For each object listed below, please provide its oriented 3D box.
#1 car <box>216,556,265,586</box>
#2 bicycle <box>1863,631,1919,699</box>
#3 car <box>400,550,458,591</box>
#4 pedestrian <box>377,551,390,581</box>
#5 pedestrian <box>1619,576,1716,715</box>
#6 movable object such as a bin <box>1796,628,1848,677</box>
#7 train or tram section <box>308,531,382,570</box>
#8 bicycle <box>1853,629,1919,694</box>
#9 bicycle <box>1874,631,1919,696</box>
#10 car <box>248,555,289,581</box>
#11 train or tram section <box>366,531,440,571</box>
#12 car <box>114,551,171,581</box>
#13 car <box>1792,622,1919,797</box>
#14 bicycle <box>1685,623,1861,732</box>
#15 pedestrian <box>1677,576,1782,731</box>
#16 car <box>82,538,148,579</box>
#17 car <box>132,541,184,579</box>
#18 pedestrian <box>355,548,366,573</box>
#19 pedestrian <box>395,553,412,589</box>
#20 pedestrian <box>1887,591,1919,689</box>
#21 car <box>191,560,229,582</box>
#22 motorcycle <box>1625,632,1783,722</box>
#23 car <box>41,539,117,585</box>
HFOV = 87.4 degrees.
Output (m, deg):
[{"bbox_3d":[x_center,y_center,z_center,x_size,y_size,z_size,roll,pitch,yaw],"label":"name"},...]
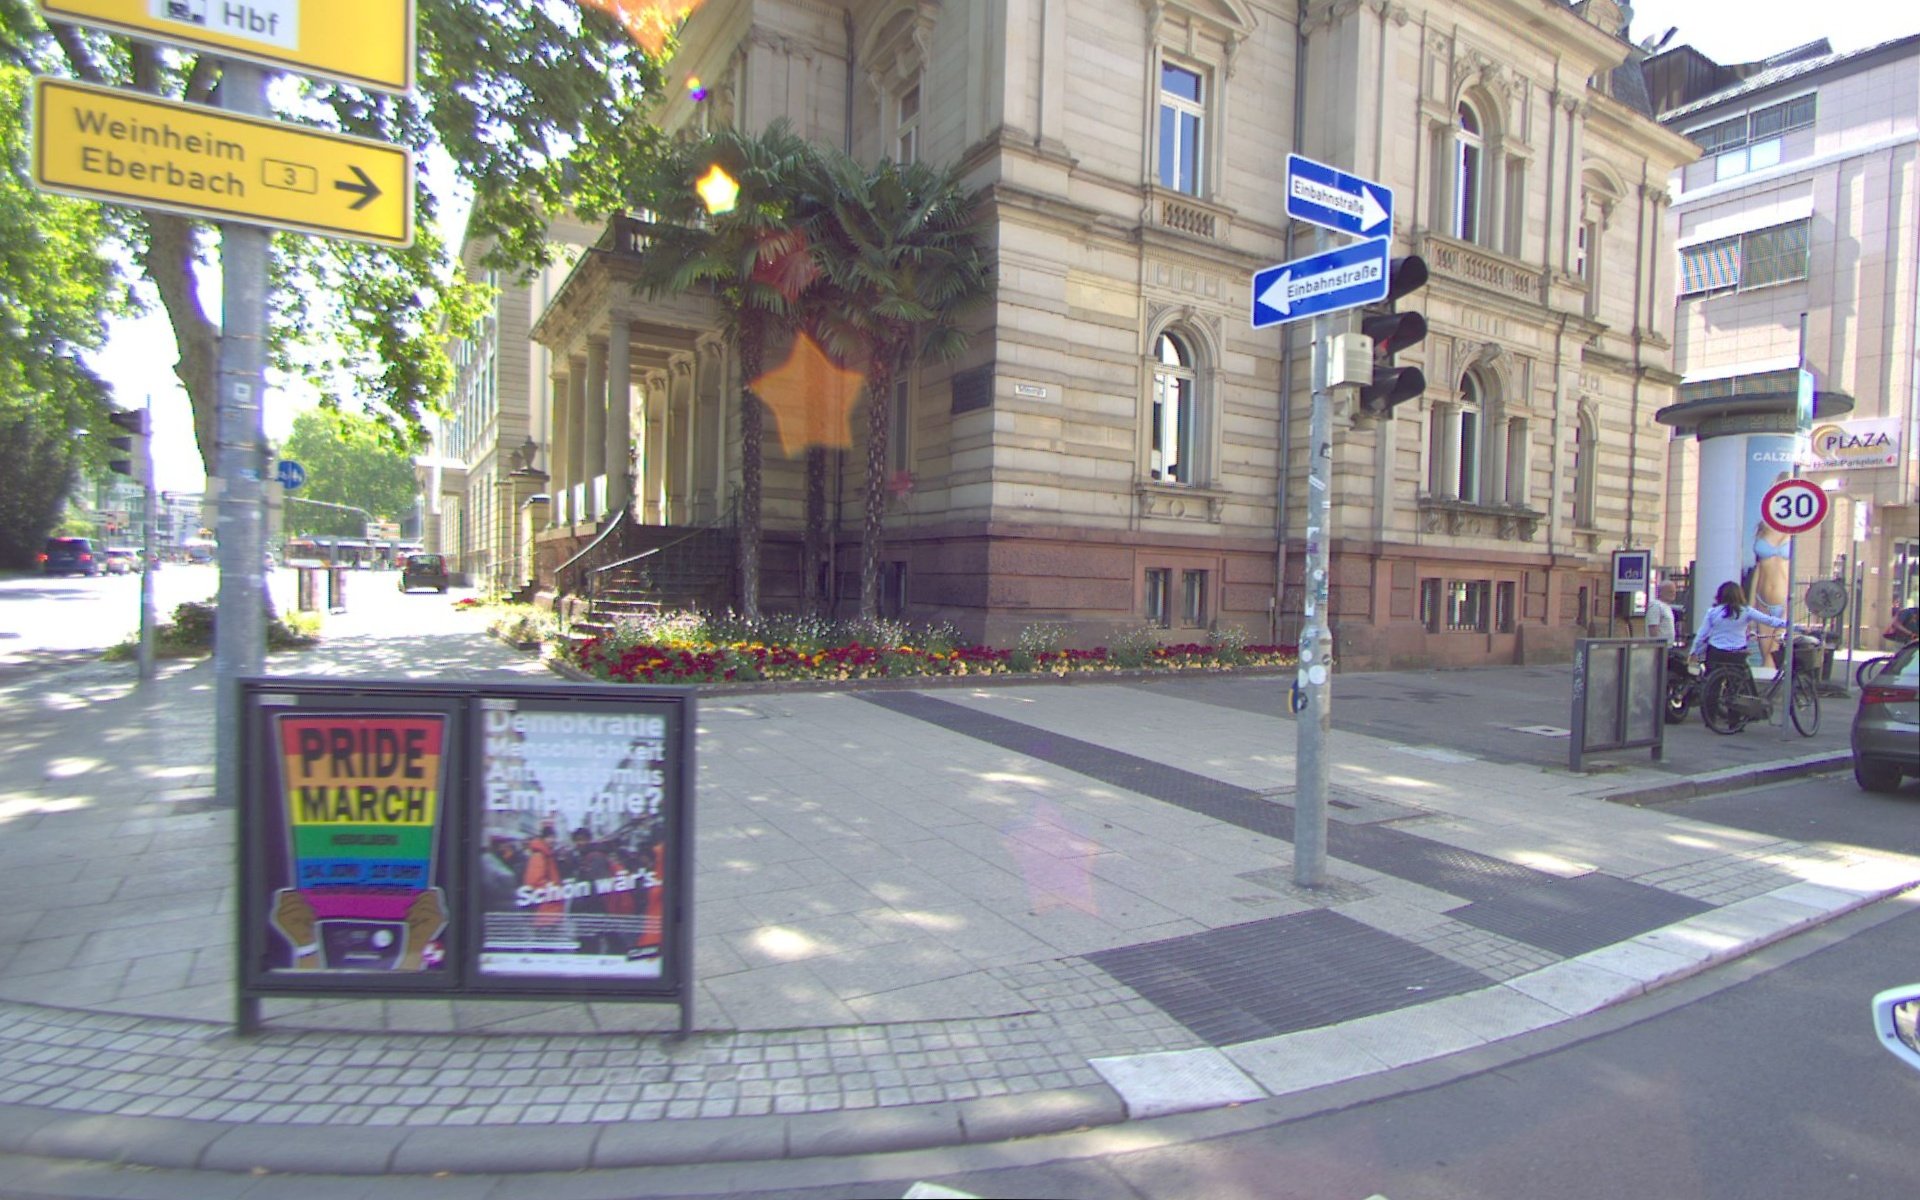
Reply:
[{"bbox_3d":[-43.877,-1.763,61.341,1.828,1.758,4.028,0,2,-28],"label":"car"},{"bbox_3d":[17.381,1.201,17.803,0.552,1.135,1.942,1,3,-42],"label":"bicycle"},{"bbox_3d":[-20.596,-1.157,39.014,1.911,1.515,4.028,0,2,-28],"label":"car"},{"bbox_3d":[-34.879,-2.049,60.762,0.688,1.811,0.828,1,1,-30],"label":"pedestrian"},{"bbox_3d":[8.910,0.567,12.658,0.923,1.687,0.548,2,0,-23],"label":"pedestrian"},{"bbox_3d":[16.566,1.003,19.309,0.507,0.887,0.649,3,-1,-38],"label":"movable object such as a bin"},{"bbox_3d":[-61.633,-4.942,100.691,6.241,3.733,2.152,2,1,4],"label":"train or tram section"},{"bbox_3d":[16.812,1.106,17.368,0.666,1.031,1.944,1,3,-42],"label":"bicycle"},{"bbox_3d":[17.988,1.217,18.049,0.552,1.135,2.215,1,3,-41],"label":"bicycle"},{"bbox_3d":[-48.520,-2.248,70.532,1.911,1.722,4.028,0,2,-28],"label":"car"},{"bbox_3d":[-55.629,-4.847,100.443,6.159,3.733,2.152,2,1,1],"label":"train or tram section"},{"bbox_3d":[-49.677,-2.071,61.120,1.911,1.722,4.028,0,2,-28],"label":"car"},{"bbox_3d":[9.612,0.918,9.050,4.199,1.372,1.927,0,1,-30],"label":"car"},{"bbox_3d":[9.250,0.892,11.405,2.210,1.135,0.428,3,2,-21],"label":"bicycle"},{"bbox_3d":[8.877,0.601,11.596,0.682,1.717,0.691,2,0,-29],"label":"pedestrian"},{"bbox_3d":[-46.267,-2.252,55.084,1.911,2.108,4.028,0,2,-28],"label":"car"},{"bbox_3d":[-52.028,-2.603,65.245,1.911,2.366,4.028,0,2,-28],"label":"car"},{"bbox_3d":[-44.945,-2.955,75.264,0.688,1.811,0.828,1,1,-30],"label":"pedestrian"},{"bbox_3d":[-32.444,-1.697,58.563,0.687,2.040,0.831,2,0,-22],"label":"pedestrian"},{"bbox_3d":[17.452,0.726,18.140,0.741,1.748,0.882,1,2,-37],"label":"pedestrian"},{"bbox_3d":[-62.632,-2.449,83.923,1.911,1.722,4.028,0,2,-28],"label":"car"},{"bbox_3d":[9.105,0.934,12.271,2.129,1.011,0.452,2,2,-22],"label":"motorcycle"},{"bbox_3d":[-43.897,-1.912,50.157,1.911,2.197,4.028,0,2,-28],"label":"car"}]
